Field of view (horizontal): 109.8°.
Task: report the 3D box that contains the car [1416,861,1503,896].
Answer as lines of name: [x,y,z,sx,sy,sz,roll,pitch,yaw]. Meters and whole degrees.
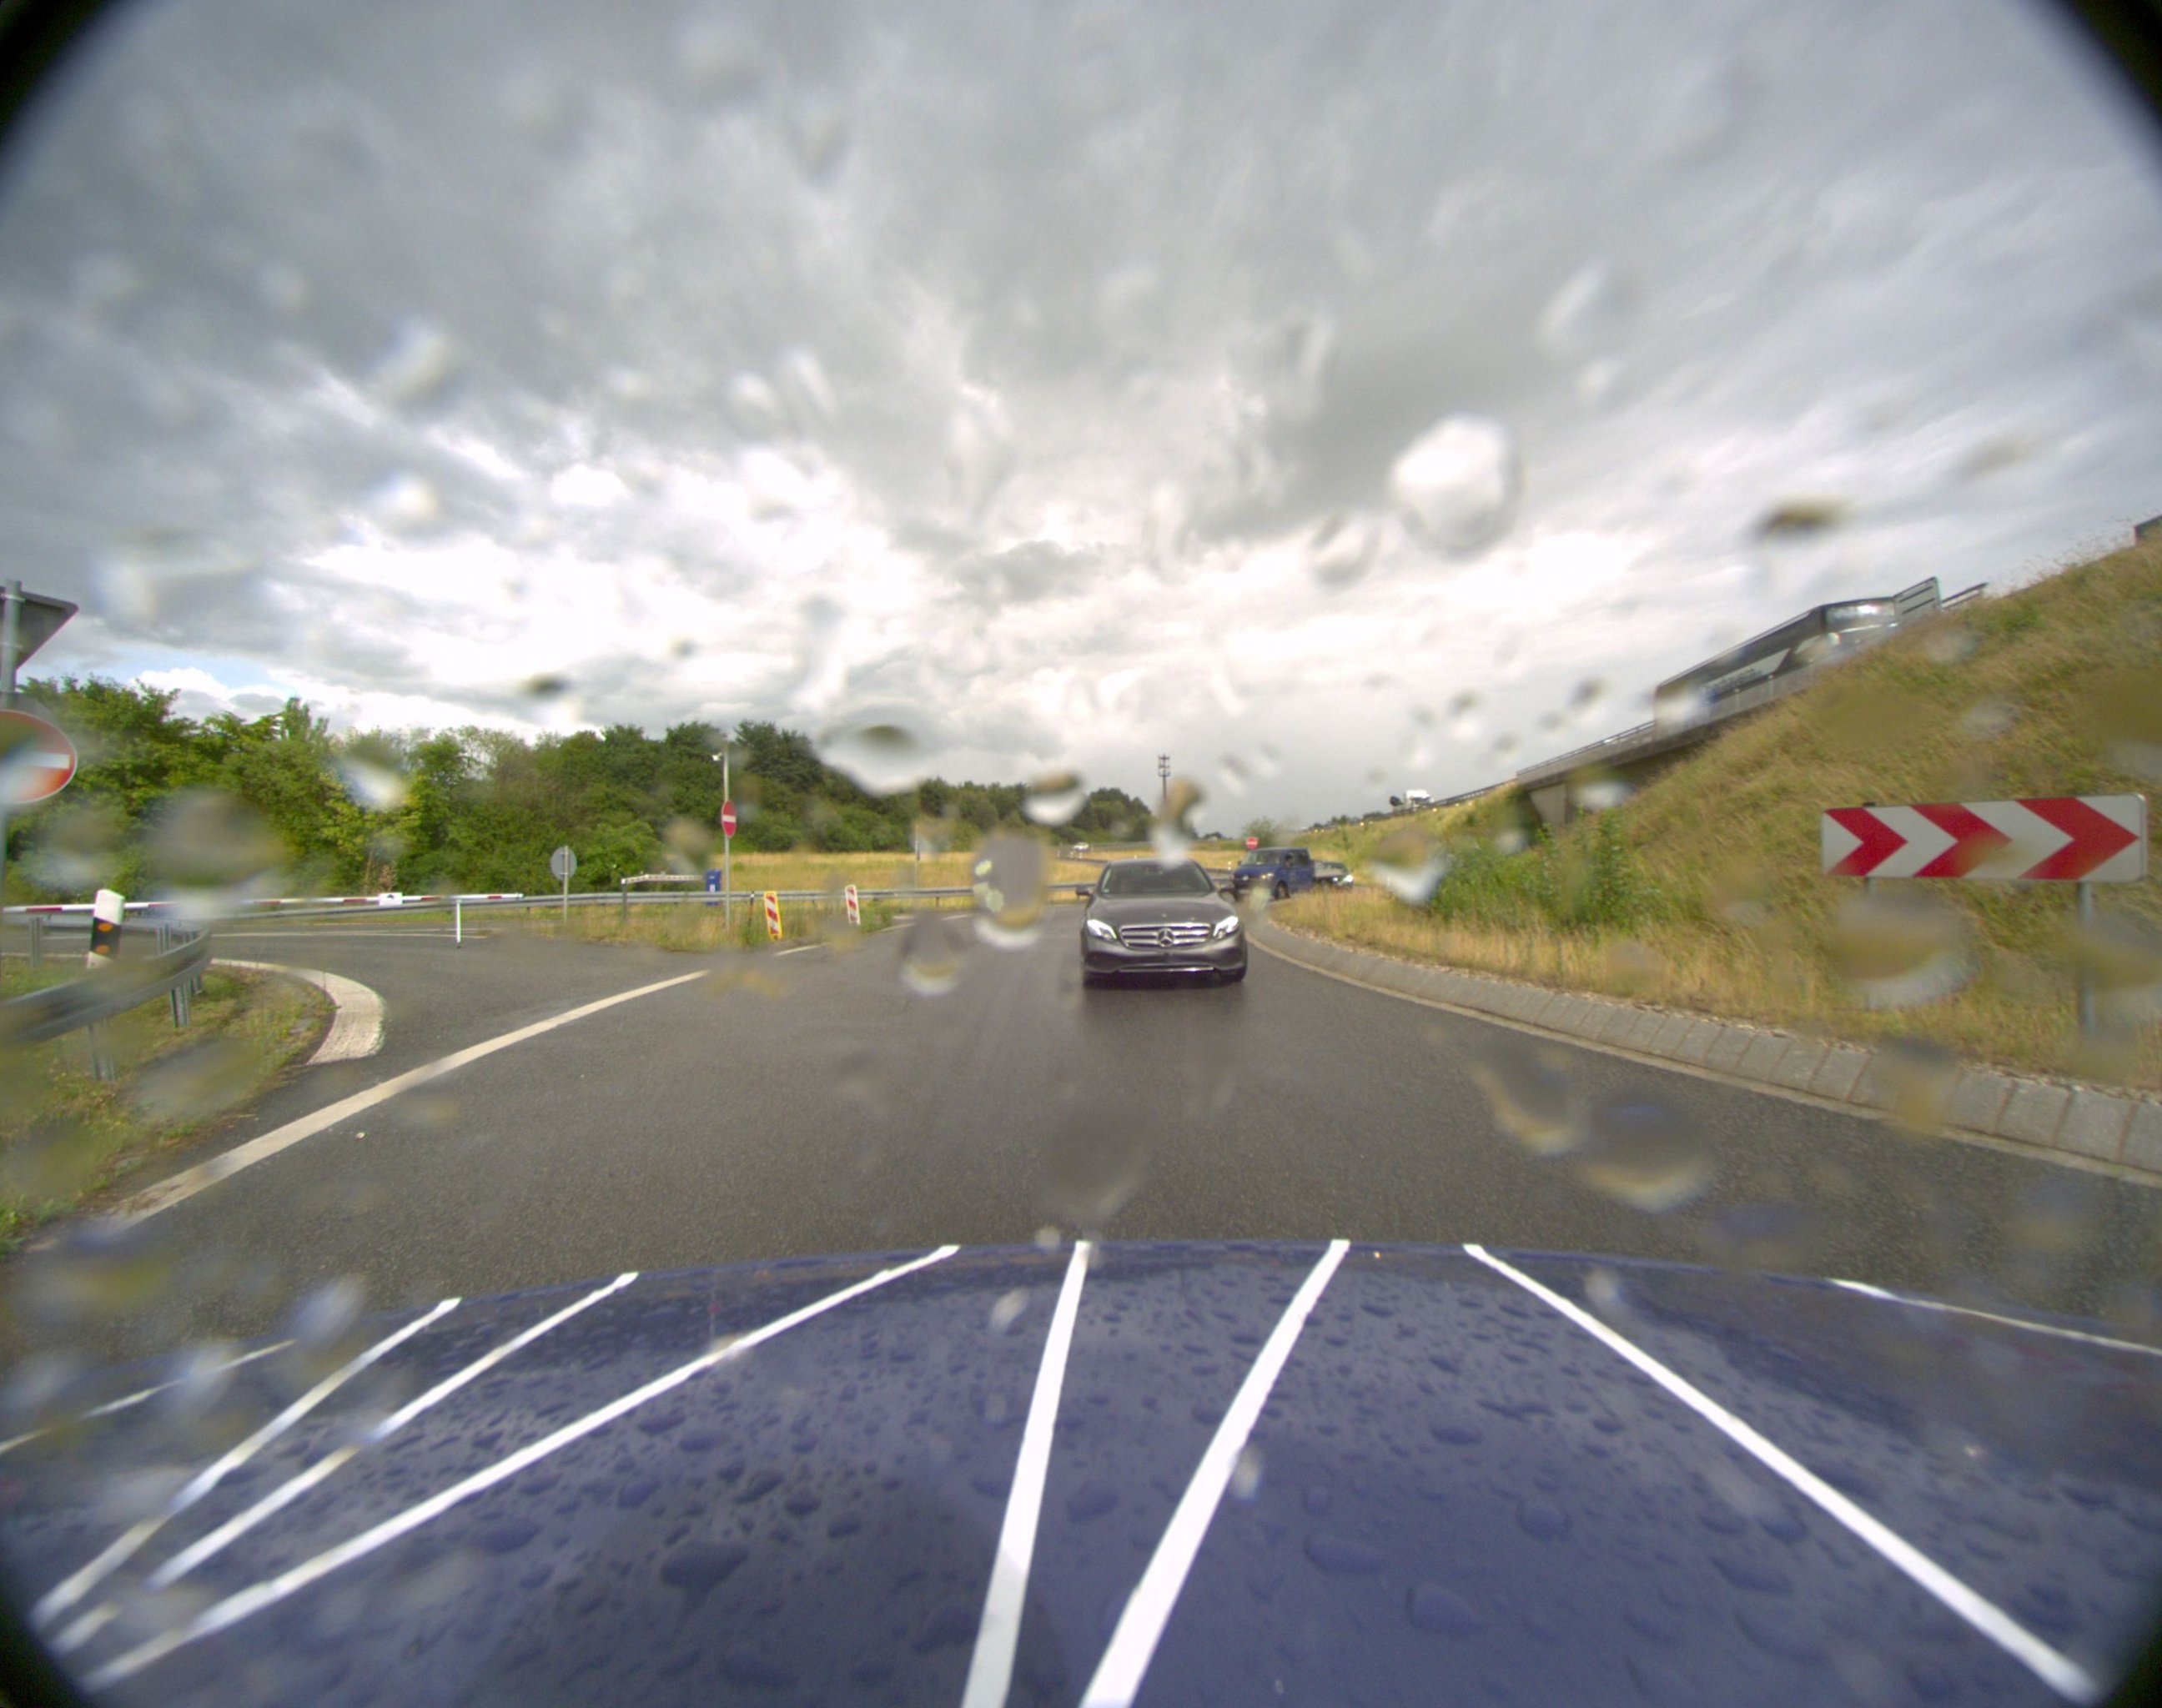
car: [17.482,1.112,35.063,3.934,1.528,1.569,0,0,-26]

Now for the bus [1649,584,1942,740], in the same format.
bus: [29.046,-7.420,32.367,2.608,3.061,14.480,-2,0,16]

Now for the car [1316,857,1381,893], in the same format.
car: [11.924,0.892,33.724,1.770,1.476,3.842,0,0,34]

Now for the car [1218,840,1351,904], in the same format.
car: [7.687,0.617,28.254,5.692,1.904,1.889,-4,1,-42]

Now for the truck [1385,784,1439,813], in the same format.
truck: [44.417,-7.333,102.251,3.159,3.176,9.279,-2,0,1]

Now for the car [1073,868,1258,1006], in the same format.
car: [0.841,0.897,10.021,1.771,1.383,4.591,0,-1,-2]

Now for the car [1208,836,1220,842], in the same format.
car: [37.001,-4.088,211.515,1.762,1.633,3.902,-2,0,39]

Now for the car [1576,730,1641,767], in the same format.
car: [34.485,-6.886,49.853,1.711,1.517,4.497,-11,-2,12]

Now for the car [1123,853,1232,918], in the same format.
car: [2.786,0.788,20.942,1.794,1.391,4.354,-1,2,24]

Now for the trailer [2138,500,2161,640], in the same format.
trailer: [22.956,-6.111,12.432,2.182,2.854,8.342,-2,0,19]
